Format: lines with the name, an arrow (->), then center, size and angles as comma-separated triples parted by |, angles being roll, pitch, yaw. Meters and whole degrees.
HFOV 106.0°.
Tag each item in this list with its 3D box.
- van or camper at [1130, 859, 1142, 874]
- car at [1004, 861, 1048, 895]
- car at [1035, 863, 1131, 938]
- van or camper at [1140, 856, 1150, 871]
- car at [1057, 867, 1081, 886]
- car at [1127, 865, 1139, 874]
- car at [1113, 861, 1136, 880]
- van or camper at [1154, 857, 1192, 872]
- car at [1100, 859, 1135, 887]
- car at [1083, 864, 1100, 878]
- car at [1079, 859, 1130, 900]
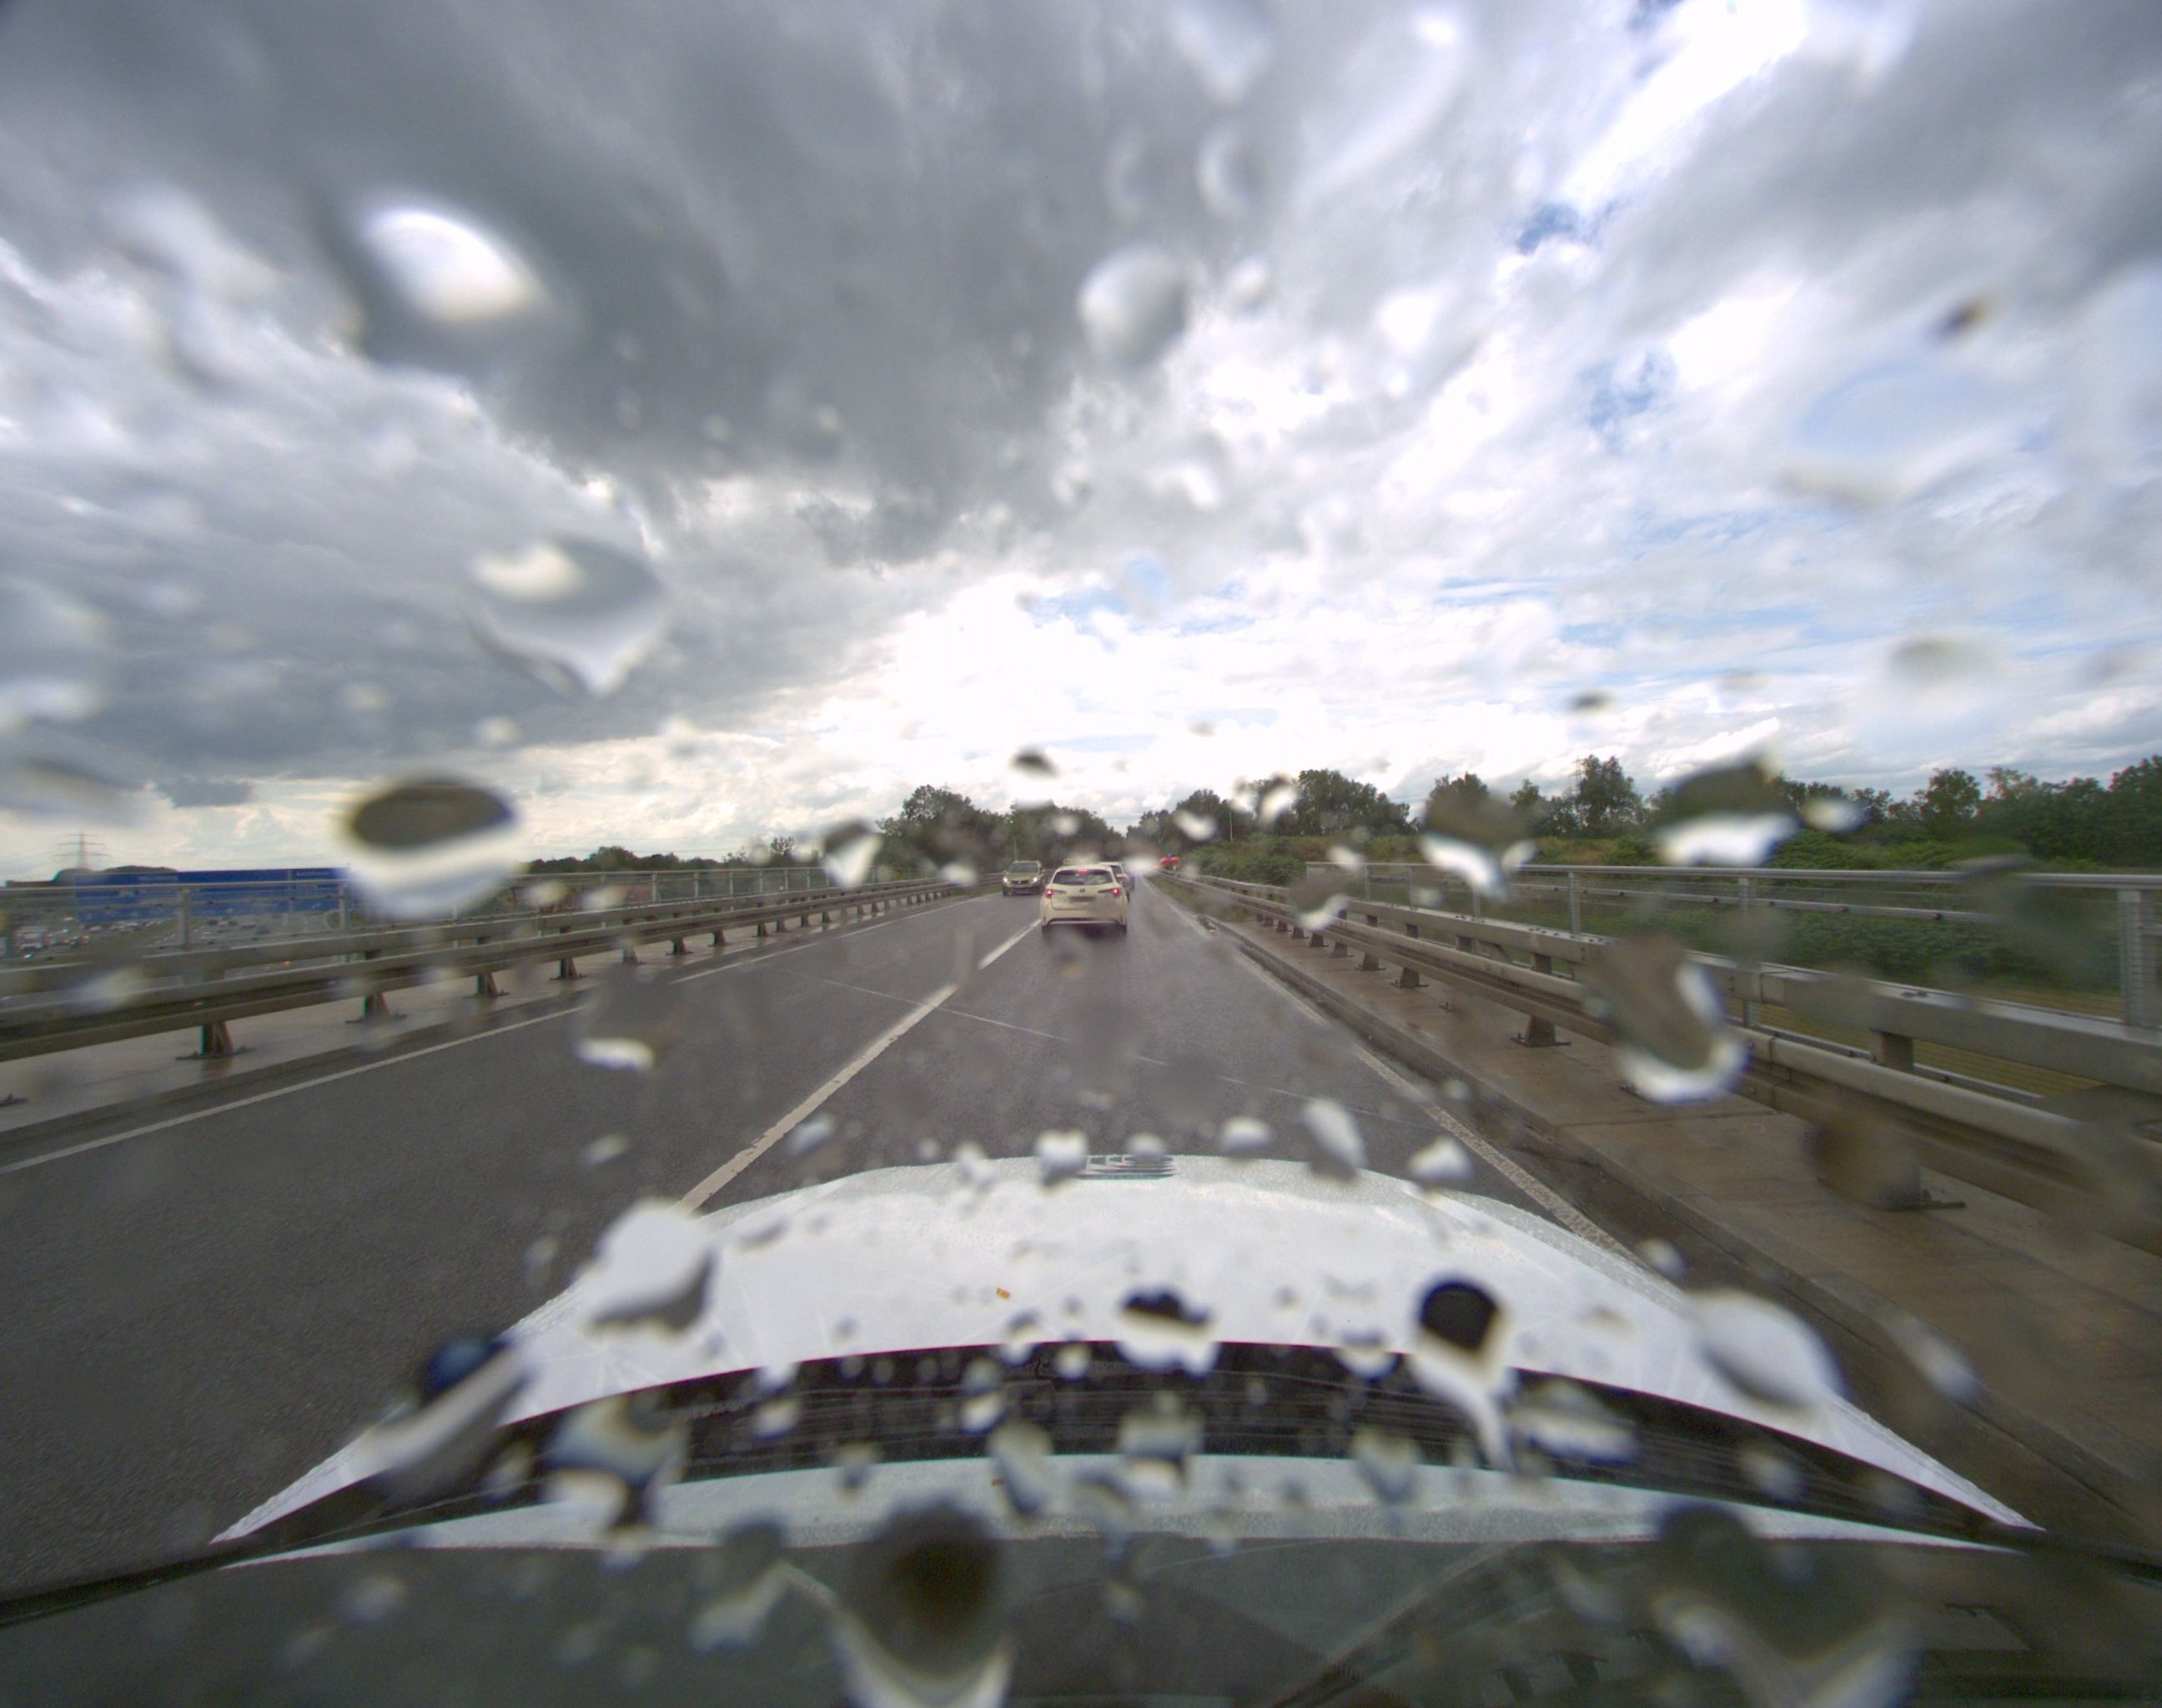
van or camper -> 11.004, 2.449, 161.927 | 2.322, 2.864, 6.313 | 0, 0, 4
car -> -2.541, 1.117, 38.395 | 1.707, 1.517, 3.861 | 0, -1, 2
car -> 0.124, 0.926, 17.921 | 1.847, 1.394, 4.173 | 0, 0, 2
van or camper -> 15.147, 2.280, 193.173 | 2.322, 3.562, 6.313 | 0, 0, 4
car -> -0.953, 1.823, 66.623 | 1.690, 1.432, 4.325 | 0, 0, 2
car -> 8.936, 2.669, 138.772 | 1.845, 1.443, 4.178 | 0, 0, 6
car -> 3.554, 1.312, 66.683 | 1.847, 1.443, 4.173 | 0, 0, 2
van or camper -> 14.674, 1.677, 130.158 | 5.682, 2.241, 2.012 | 0, 0, -12
car -> 2.051, 1.056, 46.057 | 1.847, 1.443, 4.173 | 0, 0, 2
car -> 1.203, 1.994, 94.935 | 1.803, 1.509, 4.614 | 0, 0, 3
car -> 0.942, 0.937, 31.975 | 1.847, 1.443, 4.173 | 0, 0, 2
